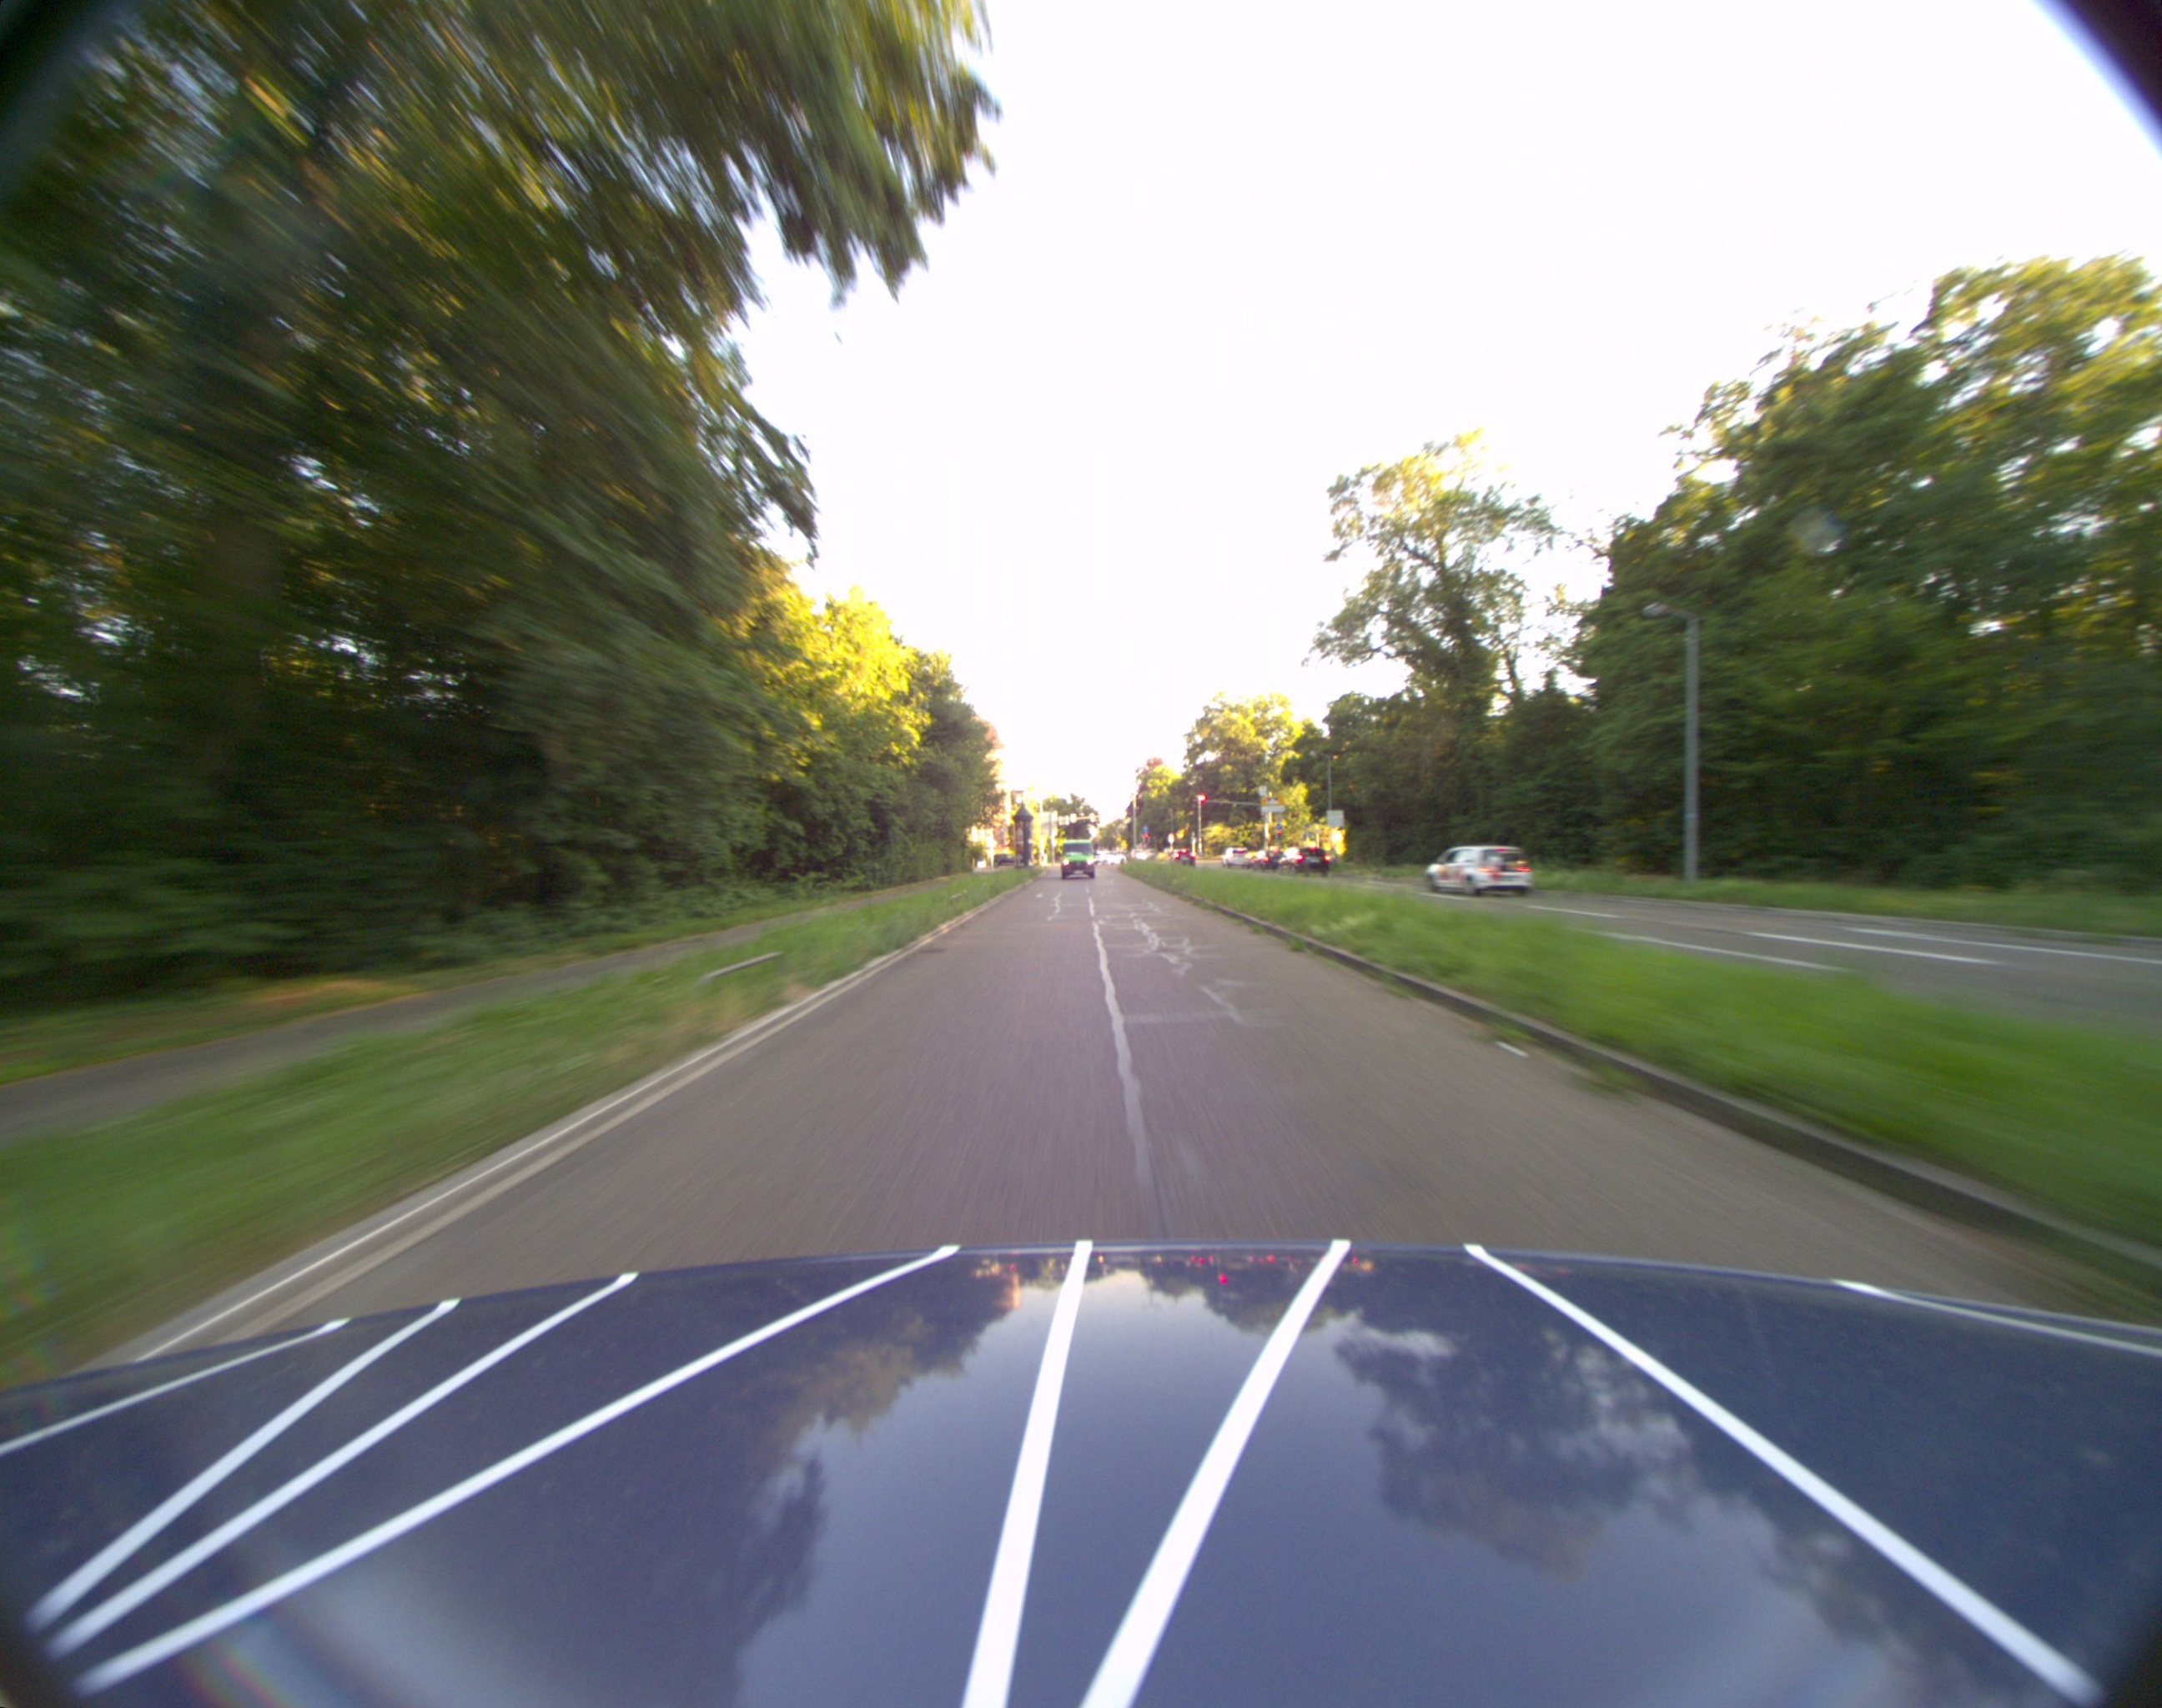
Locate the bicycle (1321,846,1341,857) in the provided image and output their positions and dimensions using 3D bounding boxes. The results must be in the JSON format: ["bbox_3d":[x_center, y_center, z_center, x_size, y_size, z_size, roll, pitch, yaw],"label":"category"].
[{"bbox_3d":[24.325,-0.219,74.008,1.802,1.008,0.565,-1,1,-11],"label":"bicycle"}]

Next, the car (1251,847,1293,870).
[{"bbox_3d":[12.892,0.299,51.521,1.828,1.471,4.232,0,1,0],"label":"car"}]

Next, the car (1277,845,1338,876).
[{"bbox_3d":[12.560,0.318,42.481,1.998,1.618,4.651,0,1,0],"label":"car"}]

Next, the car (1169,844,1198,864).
[{"bbox_3d":[8.574,-0.020,63.797,1.818,1.618,4.450,0,1,0],"label":"car"}]

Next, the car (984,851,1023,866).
[{"bbox_3d":[-8.304,0.517,81.764,3.997,1.527,1.683,-1,1,-1],"label":"car"}]

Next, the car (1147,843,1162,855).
[{"bbox_3d":[12.031,-0.797,124.329,1.861,1.835,4.120,-1,1,-1],"label":"car"}]

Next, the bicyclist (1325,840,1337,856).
[{"bbox_3d":[24.349,-0.604,74.008,0.899,1.560,0.555,-1,1,-10],"label":"bicyclist"}]

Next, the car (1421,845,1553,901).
[{"bbox_3d":[12.143,0.515,23.060,1.998,1.450,3.809,-1,2,1],"label":"car"}]

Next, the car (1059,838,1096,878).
[{"bbox_3d":[-0.154,0.198,47.164,2.044,2.264,5.941,-2,0,1],"label":"car"}]

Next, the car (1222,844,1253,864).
[{"bbox_3d":[12.771,-0.017,62.218,1.826,1.604,4.641,1,1,3],"label":"car"}]

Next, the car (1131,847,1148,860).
[{"bbox_3d":[7.794,-0.113,101.664,1.769,1.626,4.511,-1,0,-3],"label":"car"}]
